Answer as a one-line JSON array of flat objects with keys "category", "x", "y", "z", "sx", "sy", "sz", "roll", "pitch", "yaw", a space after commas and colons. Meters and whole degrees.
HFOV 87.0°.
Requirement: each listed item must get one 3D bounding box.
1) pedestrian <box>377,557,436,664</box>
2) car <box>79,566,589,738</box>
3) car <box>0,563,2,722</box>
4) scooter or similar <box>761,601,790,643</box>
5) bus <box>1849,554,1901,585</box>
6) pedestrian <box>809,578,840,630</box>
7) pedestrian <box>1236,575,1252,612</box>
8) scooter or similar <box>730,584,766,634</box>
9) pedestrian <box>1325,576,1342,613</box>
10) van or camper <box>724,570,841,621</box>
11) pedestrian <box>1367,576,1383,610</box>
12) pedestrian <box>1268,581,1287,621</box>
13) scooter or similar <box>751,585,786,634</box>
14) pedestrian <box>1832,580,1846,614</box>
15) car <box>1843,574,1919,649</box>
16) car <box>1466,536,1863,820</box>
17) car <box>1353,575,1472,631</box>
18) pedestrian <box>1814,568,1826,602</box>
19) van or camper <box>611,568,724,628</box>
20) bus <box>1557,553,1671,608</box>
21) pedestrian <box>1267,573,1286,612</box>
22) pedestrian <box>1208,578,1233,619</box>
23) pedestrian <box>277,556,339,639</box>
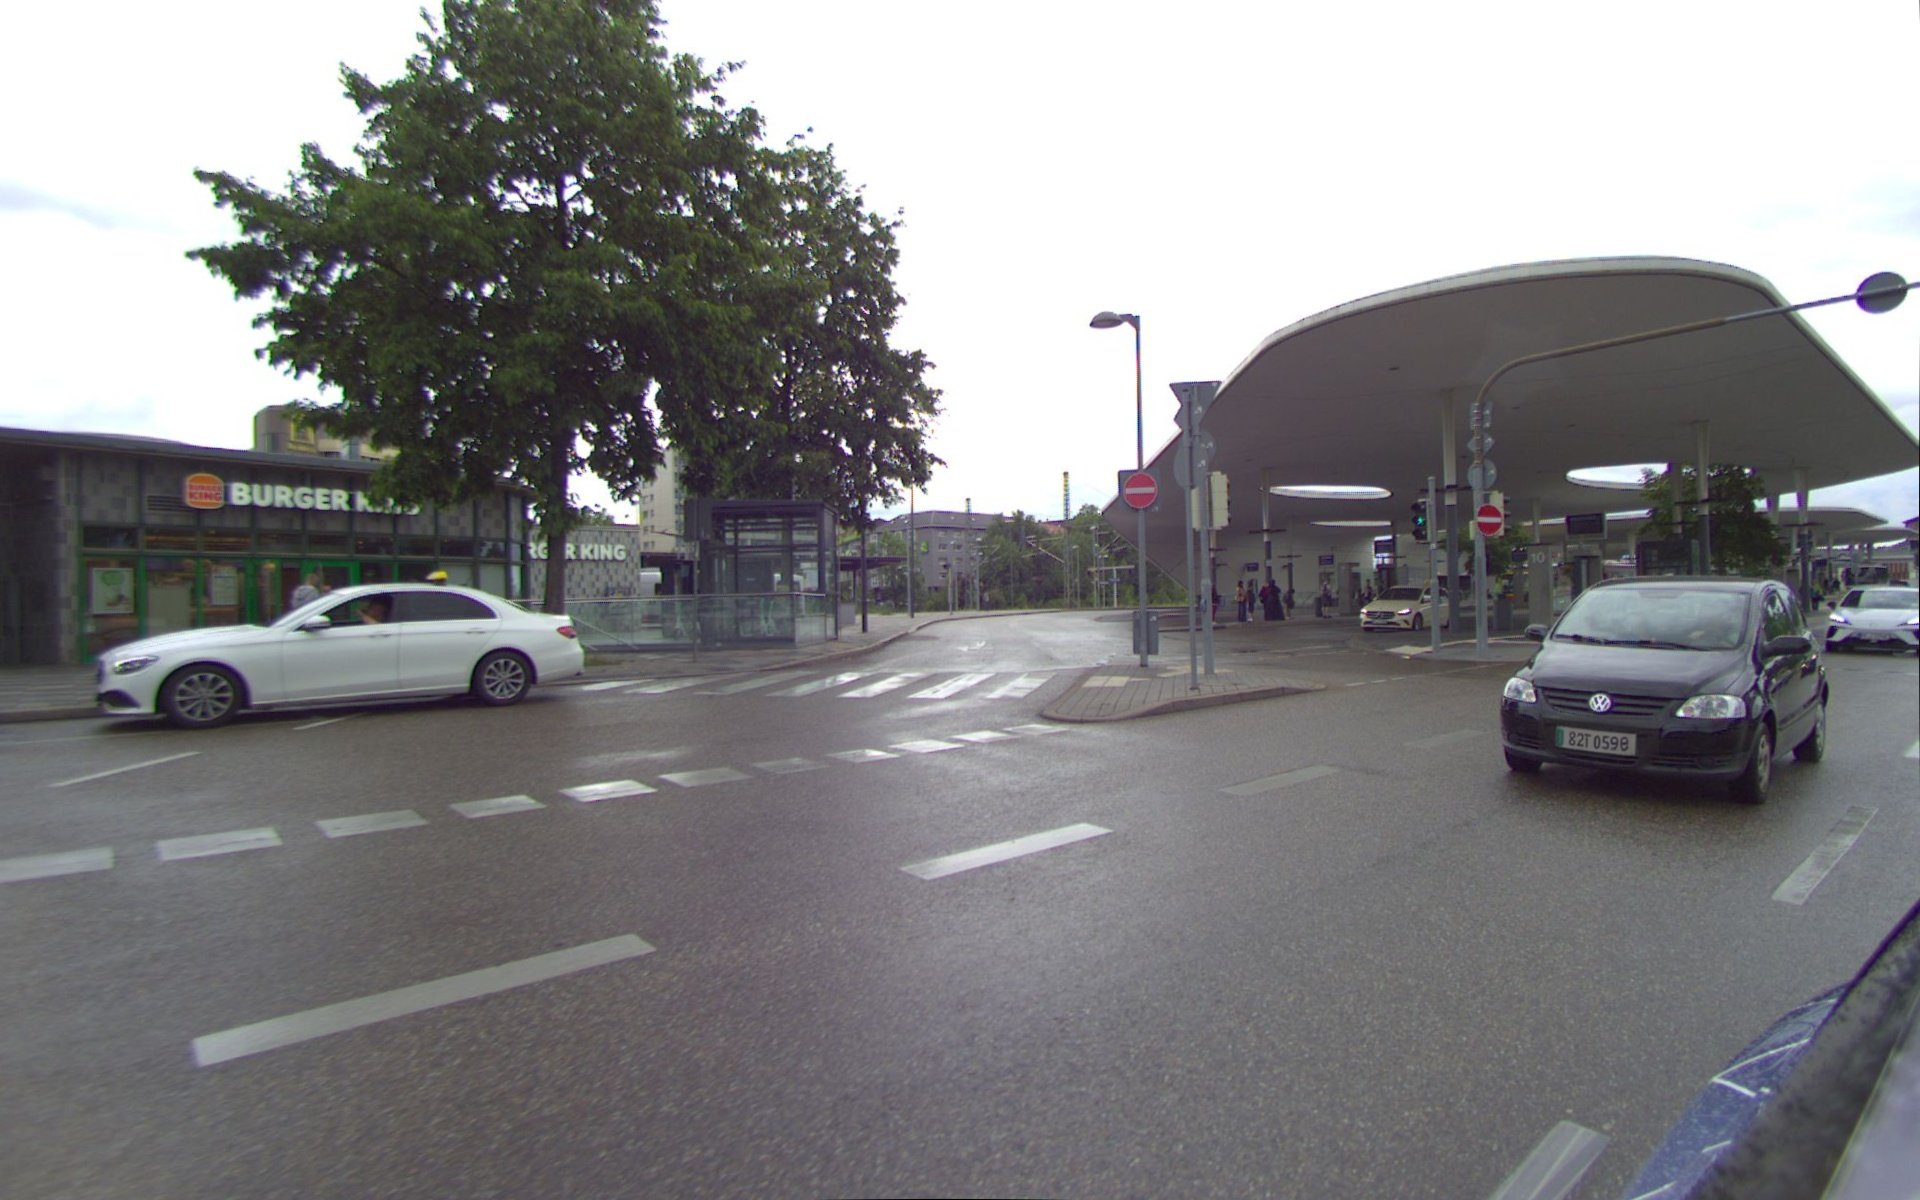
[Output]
[{"category": "pedestrian", "x": -11.520, "y": 0.197, "z": 21.073, "sx": 0.787, "sy": 2.191, "sz": 0.719, "roll": 1, "pitch": 2, "yaw": 18}, {"category": "car", "x": -7.097, "y": 0.417, "z": 11.858, "sx": 4.818, "sy": 1.619, "sz": 1.883, "roll": -2, "pitch": 3, "yaw": -41}, {"category": "car", "x": -11.198, "y": 0.486, "z": 8.207, "sx": 4.872, "sy": 1.619, "sz": 1.997, "roll": -1, "pitch": 2, "yaw": -41}, {"category": "scooter or similar", "x": -5.579, "y": 0.653, "z": 30.627, "sx": 0.329, "sy": 1.197, "sz": 1.298, "roll": 0, "pitch": 2, "yaw": 15}, {"category": "bus", "x": 95.729, "y": -3.145, "z": 106.010, "sx": 3.568, "sy": 3.137, "sz": 10.601, "roll": 0, "pitch": 1, "yaw": 40}, {"category": "pedestrian", "x": -4.437, "y": 0.114, "z": 33.217, "sx": 0.782, "sy": 1.688, "sz": 0.723, "roll": -1, "pitch": 2, "yaw": -31}, {"category": "pedestrian", "x": 11.856, "y": -0.270, "z": 42.257, "sx": 0.469, "sy": 1.533, "sz": 0.536, "roll": 0, "pitch": 1, "yaw": -7}, {"category": "scooter or similar", "x": -5.411, "y": 0.213, "z": 25.874, "sx": 0.329, "sy": 1.197, "sz": 1.298, "roll": 0, "pitch": 2, "yaw": 15}, {"category": "pedestrian", "x": 15.924, "y": -0.239, "z": 43.191, "sx": 0.525, "sy": 1.533, "sz": 0.479, "roll": -1, "pitch": 1, "yaw": -38}, {"category": "van or camper", "x": -9.028, "y": -0.304, "z": 51.807, "sx": 5.763, "sy": 2.463, "sz": 1.997, "roll": -2, "pitch": 2, "yaw": -41}, {"category": "pedestrian", "x": 18.789, "y": -0.330, "z": 45.802, "sx": 0.525, "sy": 1.533, "sz": 0.479, "roll": -1, "pitch": 1, "yaw": -38}, {"category": "pedestrian", "x": 12.394, "y": 0.022, "z": 39.460, "sx": 0.470, "sy": 1.533, "sz": 0.535, "roll": -1, "pitch": 1, "yaw": -37}, {"category": "scooter or similar", "x": -4.845, "y": 0.222, "z": 25.696, "sx": 0.329, "sy": 1.197, "sz": 1.298, "roll": 0, "pitch": 2, "yaw": 15}, {"category": "pedestrian", "x": 45.775, "y": -0.152, "z": 52.695, "sx": 0.442, "sy": 1.786, "sz": 0.531, "roll": 0, "pitch": 1, "yaw": 30}, {"category": "car", "x": 21.610, "y": 0.202, "z": 23.374, "sx": 1.805, "sy": 1.578, "sz": 3.990, "roll": 2, "pitch": 3, "yaw": 41}, {"category": "car", "x": 5.864, "y": 0.377, "z": 8.225, "sx": 4.089, "sy": 1.722, "sz": 1.873, "roll": -3, "pitch": 3, "yaw": -44}, {"category": "car", "x": 15.277, "y": 0.035, "z": 34.104, "sx": 4.464, "sy": 1.702, "sz": 1.997, "roll": -2, "pitch": 3, "yaw": -41}, {"category": "pedestrian", "x": 45.467, "y": -0.784, "z": 53.497, "sx": 0.444, "sy": 1.786, "sz": 0.529, "roll": 0, "pitch": 1, "yaw": 42}, {"category": "van or camper", "x": -13.027, "y": -0.165, "z": 44.837, "sx": 5.843, "sy": 2.463, "sz": 2.132, "roll": 2, "pitch": 2, "yaw": 43}, {"category": "bus", "x": 40.836, "y": -1.193, "z": 62.927, "sx": 11.715, "sy": 3.120, "sz": 2.874, "roll": 0, "pitch": 2, "yaw": -42}, {"category": "pedestrian", "x": 12.643, "y": -0.299, "z": 40.425, "sx": 0.470, "sy": 1.533, "sz": 0.535, "roll": -1, "pitch": 1, "yaw": -37}, {"category": "pedestrian", "x": 10.462, "y": -0.069, "z": 40.591, "sx": 0.726, "sy": 1.615, "sz": 0.643, "roll": -1, "pitch": 2, "yaw": -27}, {"category": "pedestrian", "x": -12.772, "y": -0.066, "z": 19.828, "sx": 0.763, "sy": 1.599, "sz": 0.705, "roll": 1, "pitch": 2, "yaw": 25}]
